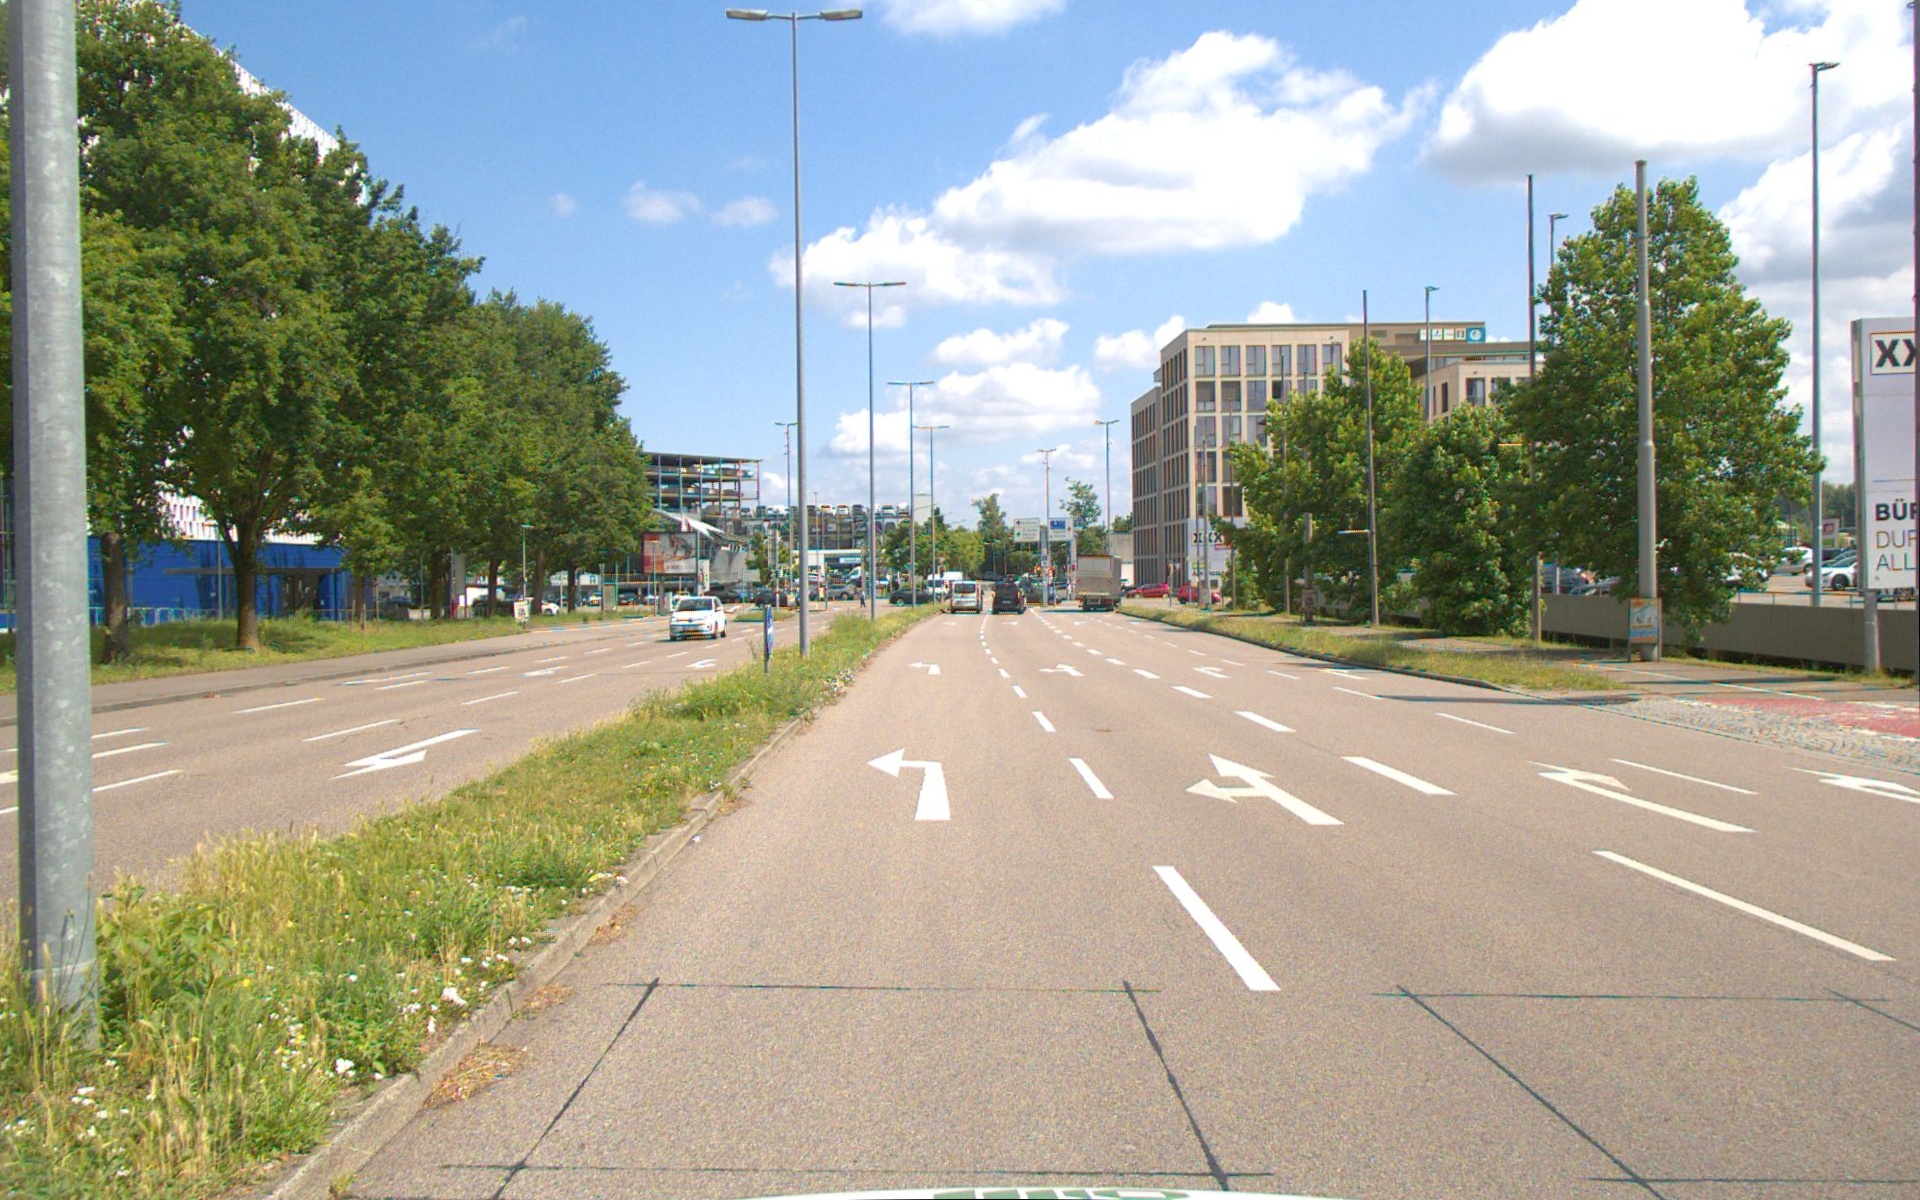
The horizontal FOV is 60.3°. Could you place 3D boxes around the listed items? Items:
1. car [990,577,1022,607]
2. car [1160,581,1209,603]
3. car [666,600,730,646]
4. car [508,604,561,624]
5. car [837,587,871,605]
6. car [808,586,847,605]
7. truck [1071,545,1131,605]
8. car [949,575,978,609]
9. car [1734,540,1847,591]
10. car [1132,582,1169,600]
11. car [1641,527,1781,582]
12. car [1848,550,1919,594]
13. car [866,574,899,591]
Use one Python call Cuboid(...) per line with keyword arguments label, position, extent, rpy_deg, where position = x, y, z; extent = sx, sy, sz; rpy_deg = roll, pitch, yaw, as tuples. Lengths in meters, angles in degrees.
Cuboid(label="car", position=(2.856, -0.506, 101.508), extent=(1.781, 1.840, 4.002), rpy_deg=(0, 1, 4))
Cuboid(label="car", position=(18.270, -0.645, 134.759), extent=(3.902, 1.691, 2.002), rpy_deg=(0, 1, 8))
Cuboid(label="car", position=(-9.088, 0.764, 57.605), extent=(1.610, 1.453, 3.670), rpy_deg=(-2, 0, -1))
Cuboid(label="car", position=(-34.180, 1.091, 132.939), extent=(3.773, 1.492, 1.695), rpy_deg=(-1, 1, -2))
Cuboid(label="car", position=(-11.206, -0.395, 174.819), extent=(3.438, 1.742, 1.603), rpy_deg=(-2, 1, -2))
Cuboid(label="car", position=(-13.168, -0.465, 164.682), extent=(3.784, 1.668, 1.857), rpy_deg=(-2, 1, -2))
Cuboid(label="truck", position=(9.917, -1.786, 115.624), extent=(3.063, 4.009, 8.867), rpy_deg=(0, 1, 12))
Cuboid(label="car", position=(0.208, -0.510, 104.203), extent=(1.818, 2.053, 4.000), rpy_deg=(0, 1, -1))
Cuboid(label="car", position=(36.595, -1.523, 72.938), extent=(3.906, 2.048, 2.000), rpy_deg=(-2, 1, 0))
Cuboid(label="car", position=(17.275, -0.833, 149.828), extent=(3.206, 1.428, 1.335), rpy_deg=(-1, 10, -1))
Cuboid(label="car", position=(34.403, -2.084, 75.840), extent=(5.545, 2.407, 2.061), rpy_deg=(-1, 0, -3))
Cuboid(label="car", position=(33.326, -1.024, 57.314), extent=(4.101, 1.413, 1.892), rpy_deg=(-2, 1, -4))
Cuboid(label="car", position=(-9.213, -2.055, 196.053), extent=(3.909, 1.959, 1.825), rpy_deg=(0, 0, -5))
